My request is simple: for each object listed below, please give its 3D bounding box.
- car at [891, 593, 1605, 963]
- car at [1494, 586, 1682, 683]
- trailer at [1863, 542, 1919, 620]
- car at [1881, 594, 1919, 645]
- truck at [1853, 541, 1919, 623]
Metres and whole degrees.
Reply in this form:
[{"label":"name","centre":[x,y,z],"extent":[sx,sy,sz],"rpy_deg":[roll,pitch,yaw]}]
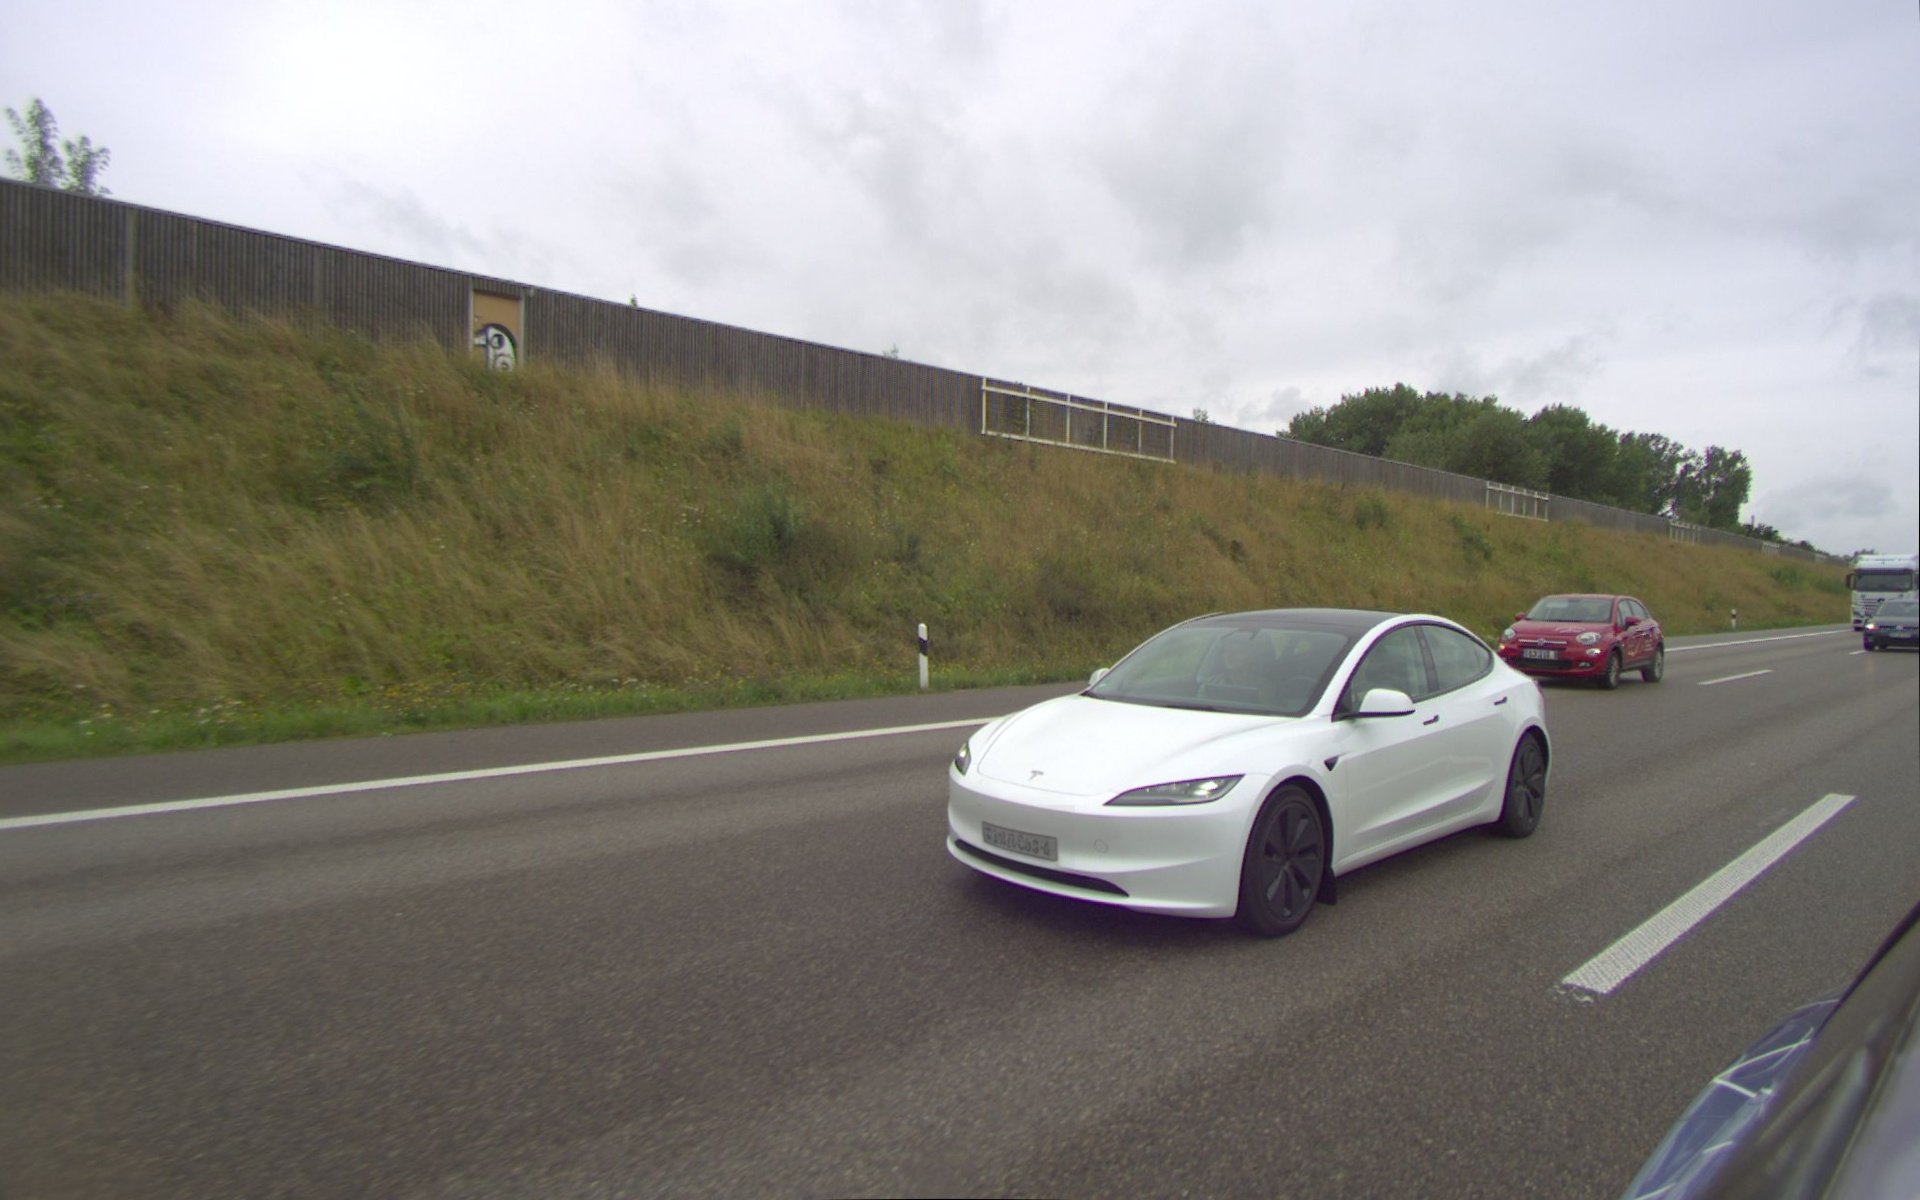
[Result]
[{"label":"car","centre":[2.030,0.656,6.099],"extent":[4.729,1.380,1.877],"rpy_deg":[-1,1,-41]},{"label":"car","centre":[11.372,0.537,18.240],"extent":[3.931,1.554,1.876],"rpy_deg":[-1,0,-42]},{"label":"trailer","centre":[55.226,-1.044,58.376],"extent":[14.961,4.077,3.086],"rpy_deg":[-1,0,-42]},{"label":"car","centre":[30.543,0.564,31.757],"extent":[4.408,1.507,1.927],"rpy_deg":[-1,1,-41]},{"label":"truck","centre":[49.745,-0.944,53.452],"extent":[6.837,4.077,3.086],"rpy_deg":[-1,0,-42]}]
